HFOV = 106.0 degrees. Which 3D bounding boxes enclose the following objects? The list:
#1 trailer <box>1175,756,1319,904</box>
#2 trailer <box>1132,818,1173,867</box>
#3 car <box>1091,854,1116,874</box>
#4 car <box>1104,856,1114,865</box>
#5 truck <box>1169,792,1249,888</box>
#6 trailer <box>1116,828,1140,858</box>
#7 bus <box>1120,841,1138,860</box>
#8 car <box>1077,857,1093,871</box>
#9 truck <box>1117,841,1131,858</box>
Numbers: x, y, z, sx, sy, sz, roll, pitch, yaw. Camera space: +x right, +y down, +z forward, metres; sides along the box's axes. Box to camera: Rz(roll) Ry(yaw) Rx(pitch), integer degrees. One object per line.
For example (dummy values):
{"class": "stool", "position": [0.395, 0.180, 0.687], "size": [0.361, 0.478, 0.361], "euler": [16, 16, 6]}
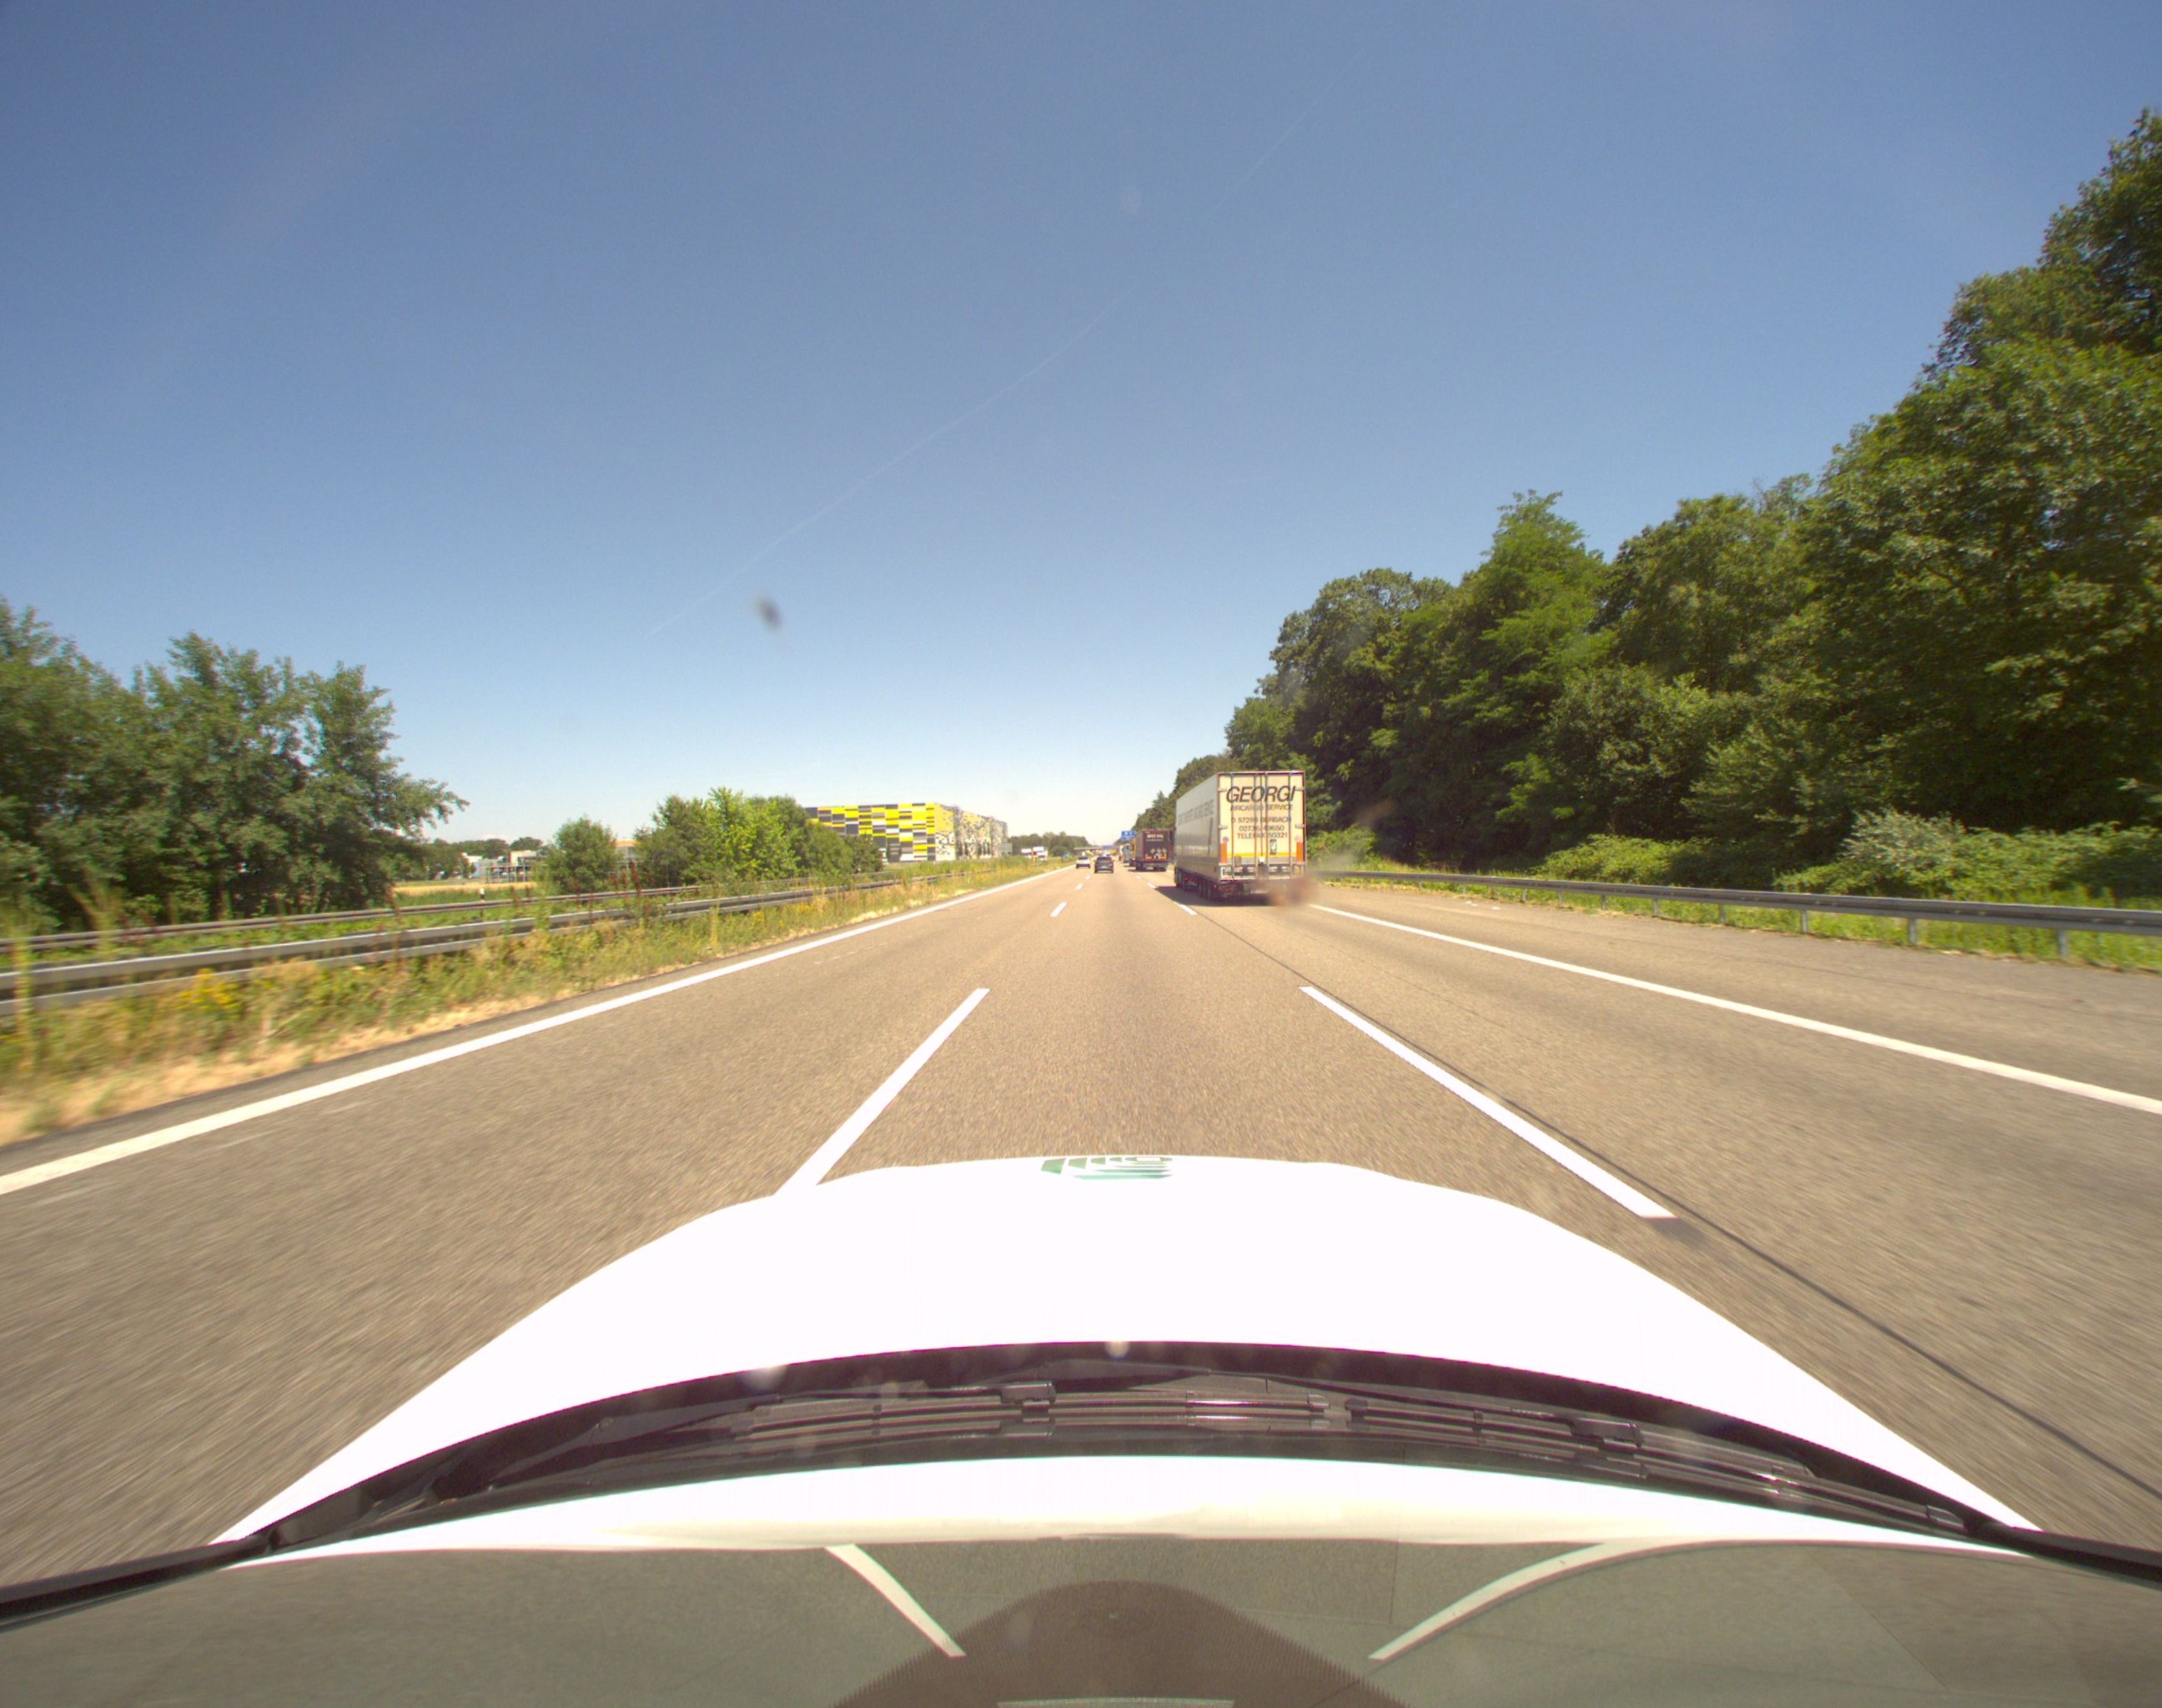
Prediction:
{"class": "trailer", "position": [5.602, -0.679, 30.423], "size": [2.982, 4.289, 13.422], "euler": [0, 0, 2]}
{"class": "trailer", "position": [7.071, -1.064, 82.961], "size": [3.095, 4.507, 14.898], "euler": [-1, 0, 1]}
{"class": "car", "position": [2.150, 0.905, 76.406], "size": [2.208, 1.790, 5.395], "euler": [-2, 0, 1]}
{"class": "car", "position": [5.461, 1.292, 161.153], "size": [1.934, 1.706, 4.001], "euler": [-2, 0, 1]}
{"class": "truck", "position": [5.860, -0.589, 38.184], "size": [2.991, 4.125, 5.254], "euler": [-1, -1, 1]}
{"class": "trailer", "position": [6.477, -1.430, 113.087], "size": [2.824, 3.953, 11.687], "euler": [-1, 0, 1]}
{"class": "bus", "position": [9.322, -0.646, 158.302], "size": [3.052, 3.326, 8.274], "euler": [-2, 0, 0]}
{"class": "car", "position": [0.498, 1.273, 103.979], "size": [1.987, 1.728, 4.131], "euler": [-1, 0, 1]}
{"class": "truck", "position": [10.809, -1.153, 204.676], "size": [3.409, 4.126, 9.570], "euler": [-2, 0, 3]}
